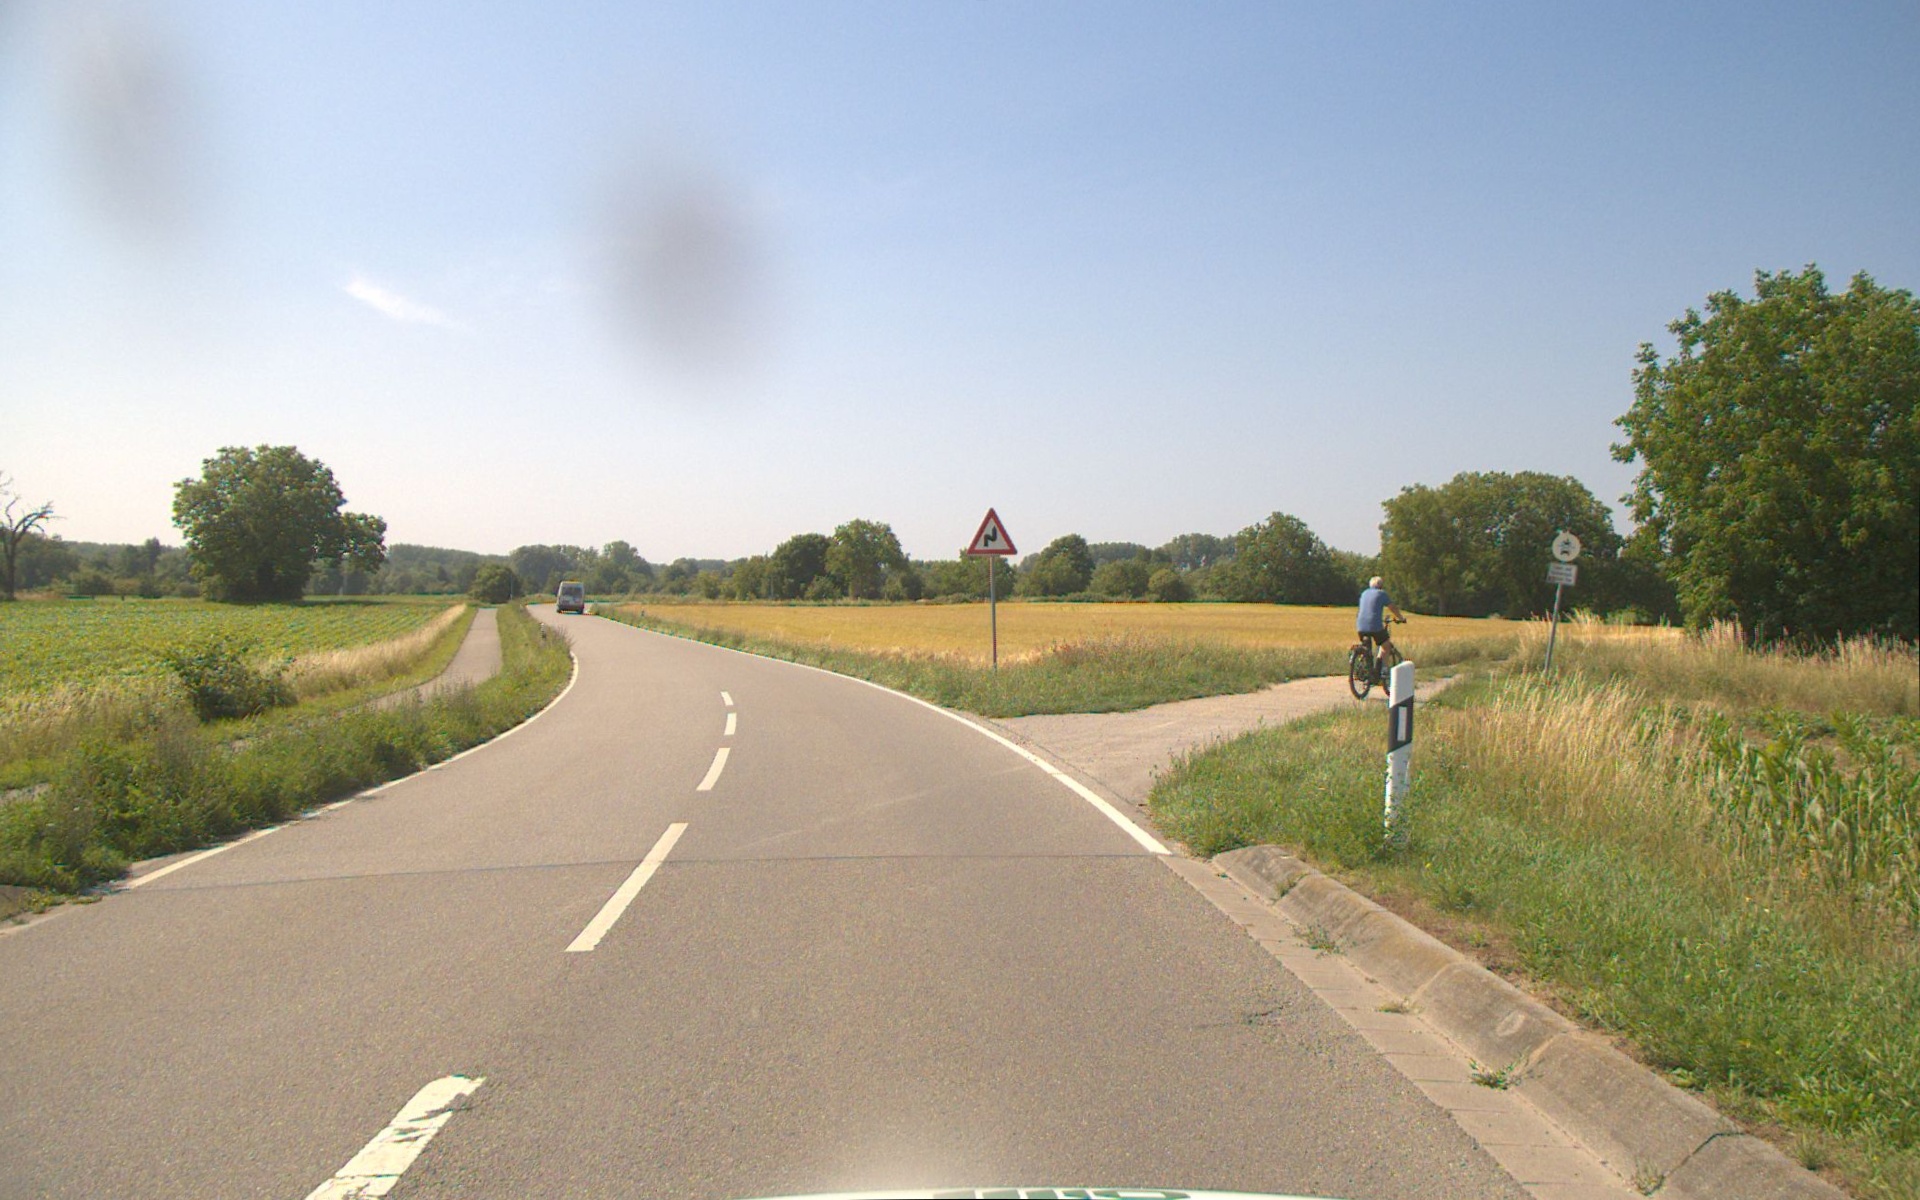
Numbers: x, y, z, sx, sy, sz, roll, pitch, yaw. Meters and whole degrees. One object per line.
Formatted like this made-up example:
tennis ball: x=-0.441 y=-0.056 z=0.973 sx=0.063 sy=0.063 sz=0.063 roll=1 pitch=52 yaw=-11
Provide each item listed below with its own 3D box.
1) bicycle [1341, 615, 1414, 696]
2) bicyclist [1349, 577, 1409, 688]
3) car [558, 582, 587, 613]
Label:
bicycle: x=6.148 y=0.796 z=24.280 sx=0.511 sy=1.135 sz=1.764 roll=0 pitch=0 yaw=32
bicyclist: x=6.148 y=0.470 z=24.283 sx=0.660 sy=1.601 sz=0.733 roll=0 pitch=0 yaw=33
car: x=-30.935 y=-0.221 z=131.947 sx=2.069 sy=2.408 sz=5.663 roll=0 pitch=0 yaw=-16
